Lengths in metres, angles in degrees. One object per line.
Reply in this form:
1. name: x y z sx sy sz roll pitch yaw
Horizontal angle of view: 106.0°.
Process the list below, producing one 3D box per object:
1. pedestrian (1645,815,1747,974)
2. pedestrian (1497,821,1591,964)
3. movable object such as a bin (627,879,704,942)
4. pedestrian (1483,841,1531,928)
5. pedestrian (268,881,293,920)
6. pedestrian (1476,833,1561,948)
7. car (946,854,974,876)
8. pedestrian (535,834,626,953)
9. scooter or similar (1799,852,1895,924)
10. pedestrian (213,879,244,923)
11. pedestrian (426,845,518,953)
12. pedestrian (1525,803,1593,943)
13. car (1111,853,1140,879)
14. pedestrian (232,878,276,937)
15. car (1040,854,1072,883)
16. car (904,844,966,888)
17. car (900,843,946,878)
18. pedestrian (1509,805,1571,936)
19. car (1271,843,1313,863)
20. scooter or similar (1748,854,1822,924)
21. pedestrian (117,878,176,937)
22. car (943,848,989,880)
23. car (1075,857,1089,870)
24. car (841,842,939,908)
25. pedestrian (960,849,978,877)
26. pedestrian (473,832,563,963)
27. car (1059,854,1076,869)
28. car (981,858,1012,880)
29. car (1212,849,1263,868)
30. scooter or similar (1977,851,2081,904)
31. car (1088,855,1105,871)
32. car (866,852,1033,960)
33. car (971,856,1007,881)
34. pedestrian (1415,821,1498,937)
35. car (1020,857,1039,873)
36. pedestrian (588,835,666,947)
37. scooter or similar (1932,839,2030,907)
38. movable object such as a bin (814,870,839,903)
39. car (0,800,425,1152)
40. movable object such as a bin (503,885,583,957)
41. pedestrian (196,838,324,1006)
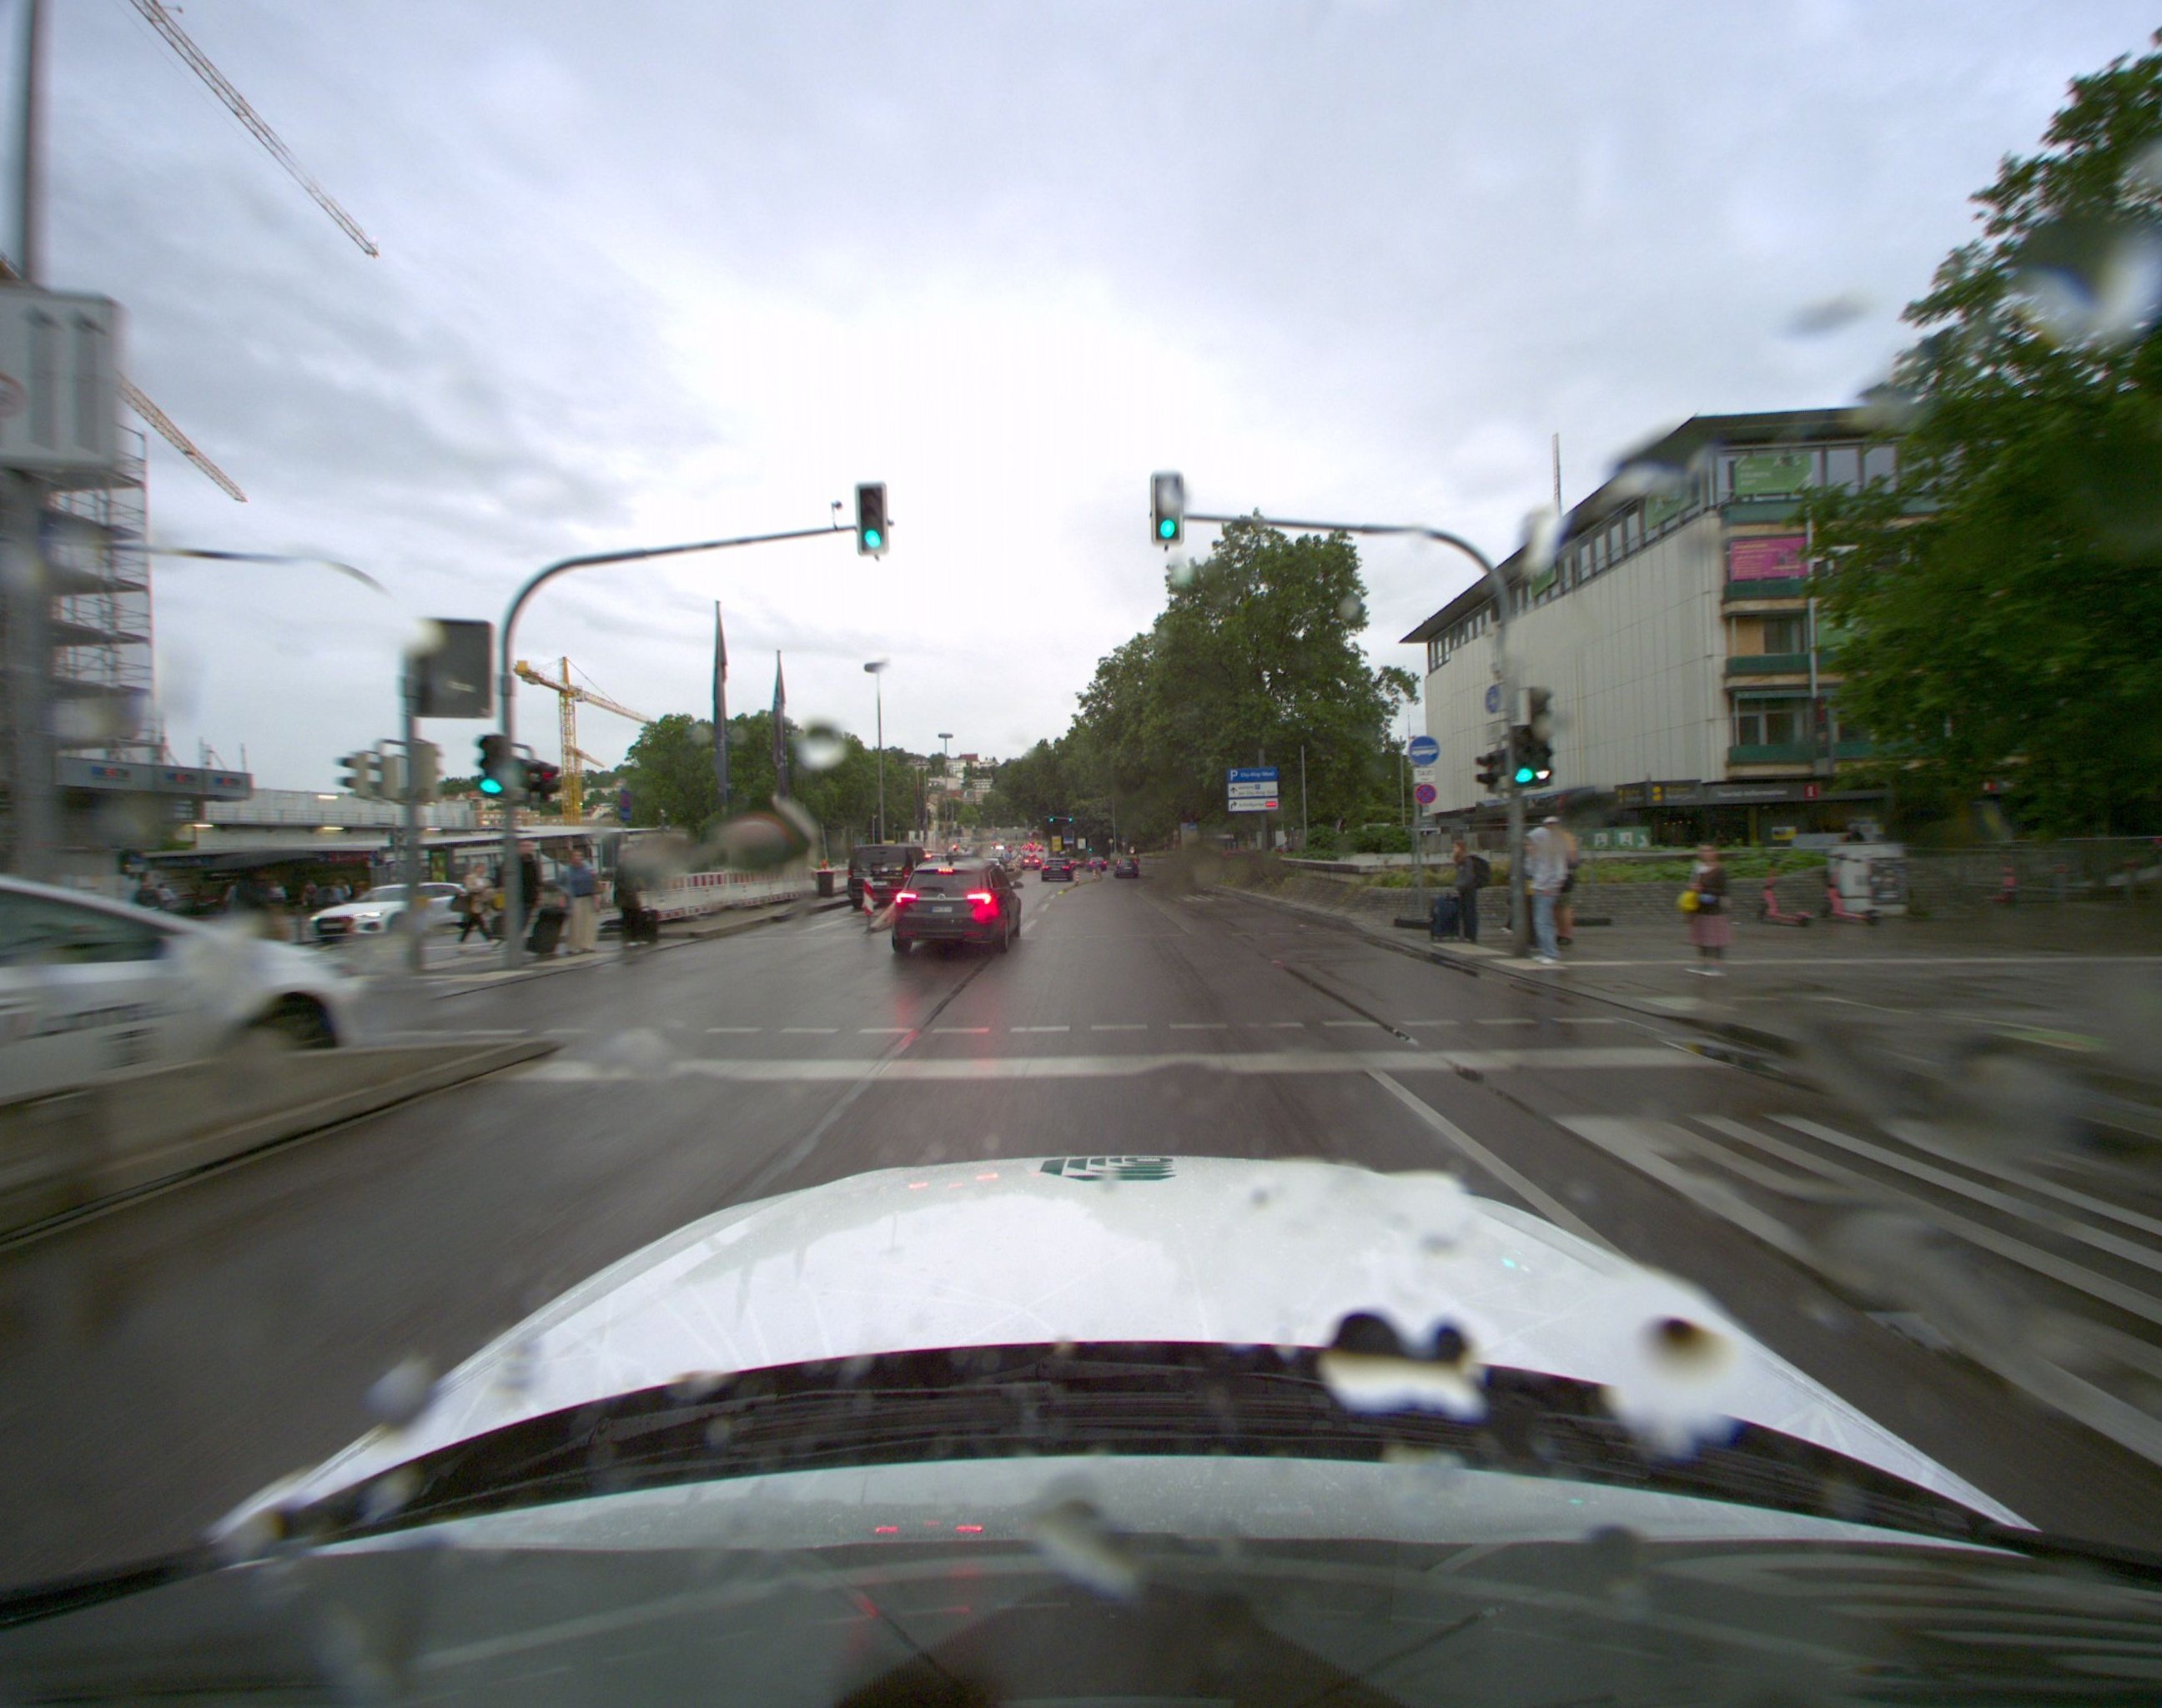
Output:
1. pedestrian: 7.288 0.461 9.674 0.542 1.805 0.751 -1 -1 -26
2. pedestrian: 6.116 0.484 10.784 0.746 1.805 0.706 -2 -1 -13
3. movable object such as a bin: -7.552 1.023 14.812 0.995 1.076 0.753 -2 0 24
4. pedestrian: 7.813 0.550 14.957 0.651 1.555 0.637 -1 -1 15
5. pedestrian: -39.634 2.294 40.323 0.487 1.881 0.801 -3 -2 32
6. pedestrian: 6.687 0.541 12.485 0.871 1.691 0.759 -2 0 2
7. car: -9.337 0.836 63.142 1.710 1.629 4.051 0 0 -3
8. pedestrian: -8.270 0.633 13.472 0.995 1.886 0.822 -2 -1 24
9. scooter or similar: 14.004 0.604 14.922 0.372 1.259 1.311 0 -1 -10
10. pedestrian: -37.695 2.089 36.008 0.653 1.881 0.806 -3 -2 32
11. pedestrian: -11.073 0.800 14.852 0.829 1.881 1.029 -1 0 4
12. pedestrian: 7.548 0.295 12.877 0.554 2.146 0.665 -2 -1 -12
13. car: 3.137 0.838 57.824 1.845 1.717 4.000 0 -1 0
14. pedestrian: -27.087 1.747 26.683 0.708 1.881 0.865 -3 -2 32
15. car: -1.541 0.874 51.387 1.824 1.686 4.134 -2 0 1
16. car: -6.012 0.501 33.986 1.818 1.696 4.771 0 -1 -1
17. car: -9.699 0.422 50.471 1.989 2.014 5.364 0 -1 -3
18. pedestrian: 7.799 0.280 13.875 0.703 2.146 0.724 -2 0 15
19. car: 22.087 -0.091 85.287 4.675 2.014 2.107 0 -1 -44
20. scooter or similar: 12.834 0.619 14.884 0.350 1.217 1.158 0 -1 1
21. pedestrian: -27.692 1.573 24.137 0.825 1.663 1.034 -3 -2 34
22. car: -5.800 0.500 41.646 1.818 1.511 4.487 0 -1 -1
23. car: 0.107 1.291 111.117 1.630 1.624 3.791 0 -1 -3
24. car: -5.864 0.622 25.699 1.988 1.845 5.059 0 -1 -1
25. pedestrian: -8.114 0.669 58.878 1.018 2.013 0.839 -1 0 11
26. pedestrian: -8.434 0.633 12.230 0.829 1.886 0.689 -2 0 -8
27. car: -1.510 0.854 93.363 1.897 1.717 4.000 0 -1 0
28. car: -6.452 1.168 62.658 1.989 1.530 4.148 -3 -1 -2
29. car: 12.446 0.383 64.850 3.573 1.506 1.745 -1 -1 41
30. scooter or similar: 19.553 0.472 16.830 0.476 1.035 1.311 -2 0 -10
31. car: 1.609 0.892 83.825 1.668 1.581 3.241 0 -1 2
32. car: -2.029 0.752 14.083 1.870 1.508 4.854 -1 0 2
33. car: -6.377 0.982 57.029 1.988 1.567 4.872 -3 -1 -2
34. pedestrian: 6.235 0.409 13.565 0.787 1.839 0.946 -2 -1 -12
35. car: -6.123 1.319 97.212 1.992 1.827 3.989 0 -1 -8
36. pedestrian: -7.891 0.628 14.154 0.995 1.886 0.687 -2 -1 24
37. scooter or similar: 18.286 0.379 16.573 0.409 1.332 1.311 0 -1 -10
38. movable object such as a bin: -9.167 1.172 29.371 0.669 1.161 0.766 1 -1 -5
39. car: -6.081 0.612 3.984 1.779 1.685 4.669 -2 0 2
40. movable object such as a bin: -8.560 1.046 12.968 0.736 1.076 0.753 -2 0 24
41. pedestrian: -8.932 0.714 8.884 0.581 1.735 0.757 -2 0 2
